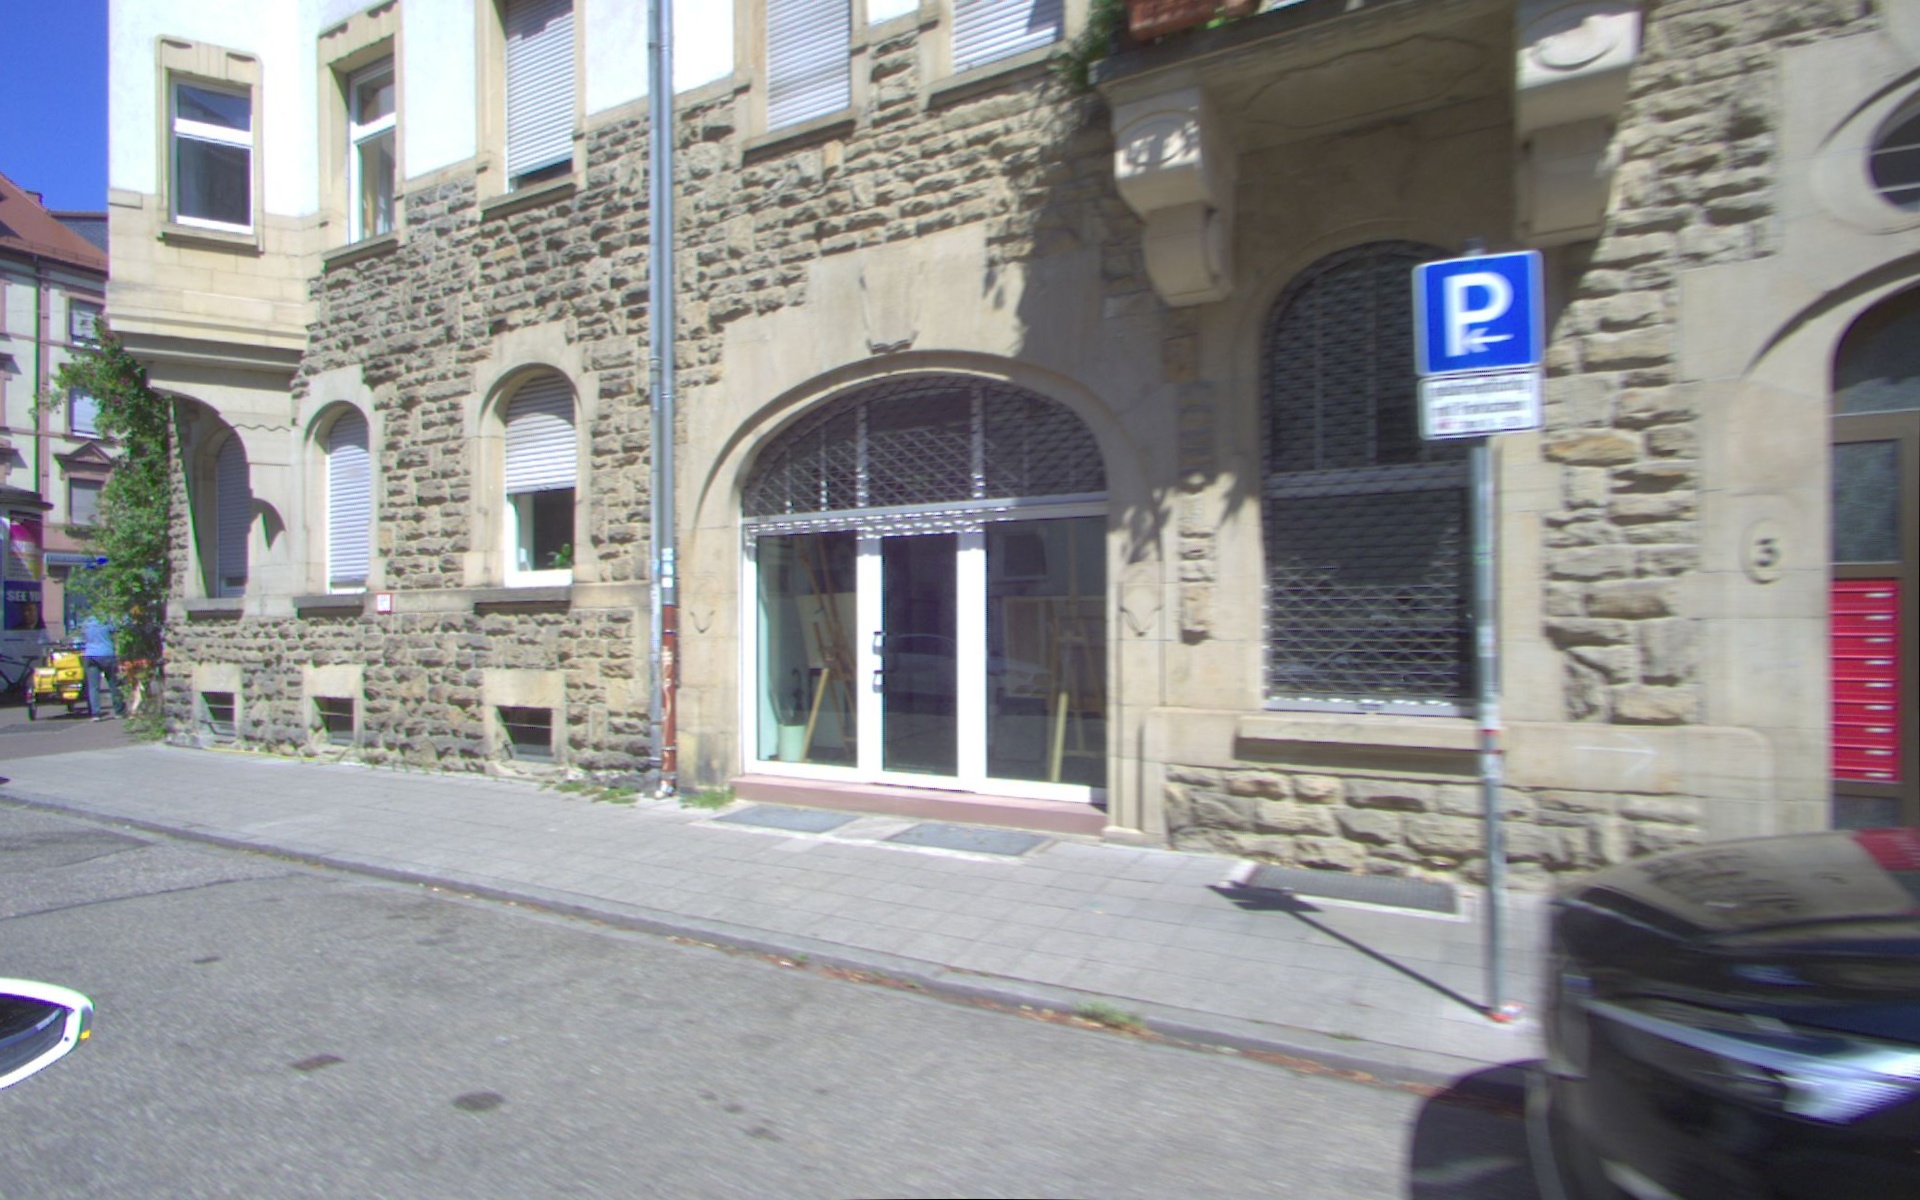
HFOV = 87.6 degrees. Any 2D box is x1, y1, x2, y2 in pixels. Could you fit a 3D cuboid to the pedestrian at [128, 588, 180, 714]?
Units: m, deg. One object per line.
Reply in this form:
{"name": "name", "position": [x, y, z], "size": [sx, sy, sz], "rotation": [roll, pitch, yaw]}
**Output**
{"name": "pedestrian", "position": [-12.681, 0.790, 15.750], "size": [0.595, 1.904, 0.875], "rotation": [0, -1, -41]}

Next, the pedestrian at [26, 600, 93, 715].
{"name": "pedestrian", "position": [-14.171, 0.888, 15.757], "size": [0.605, 1.775, 0.637], "rotation": [0, 0, 32]}

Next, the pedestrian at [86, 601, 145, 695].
{"name": "pedestrian", "position": [-16.761, 0.942, 19.884], "size": [0.572, 1.817, 0.749], "rotation": [0, 0, -9]}

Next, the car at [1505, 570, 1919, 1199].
{"name": "car", "position": [3.400, 0.780, 1.460], "size": [4.533, 1.586, 1.833], "rotation": [-1, -3, 28]}

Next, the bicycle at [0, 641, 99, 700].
{"name": "bicycle", "position": [-17.778, 1.330, 19.145], "size": [0.624, 1.053, 1.898], "rotation": [-1, 0, 29]}

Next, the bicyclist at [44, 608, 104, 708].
{"name": "bicyclist", "position": [-15.221, 0.980, 17.212], "size": [0.671, 1.669, 0.658], "rotation": [0, 0, -33]}

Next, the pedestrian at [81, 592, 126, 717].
{"name": "pedestrian", "position": [-13.278, 0.830, 15.533], "size": [0.514, 1.893, 0.648], "rotation": [0, -1, -40]}

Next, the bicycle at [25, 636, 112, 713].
{"name": "bicycle", "position": [-15.205, 1.224, 17.147], "size": [0.786, 1.184, 2.561], "rotation": [0, -1, -34]}
